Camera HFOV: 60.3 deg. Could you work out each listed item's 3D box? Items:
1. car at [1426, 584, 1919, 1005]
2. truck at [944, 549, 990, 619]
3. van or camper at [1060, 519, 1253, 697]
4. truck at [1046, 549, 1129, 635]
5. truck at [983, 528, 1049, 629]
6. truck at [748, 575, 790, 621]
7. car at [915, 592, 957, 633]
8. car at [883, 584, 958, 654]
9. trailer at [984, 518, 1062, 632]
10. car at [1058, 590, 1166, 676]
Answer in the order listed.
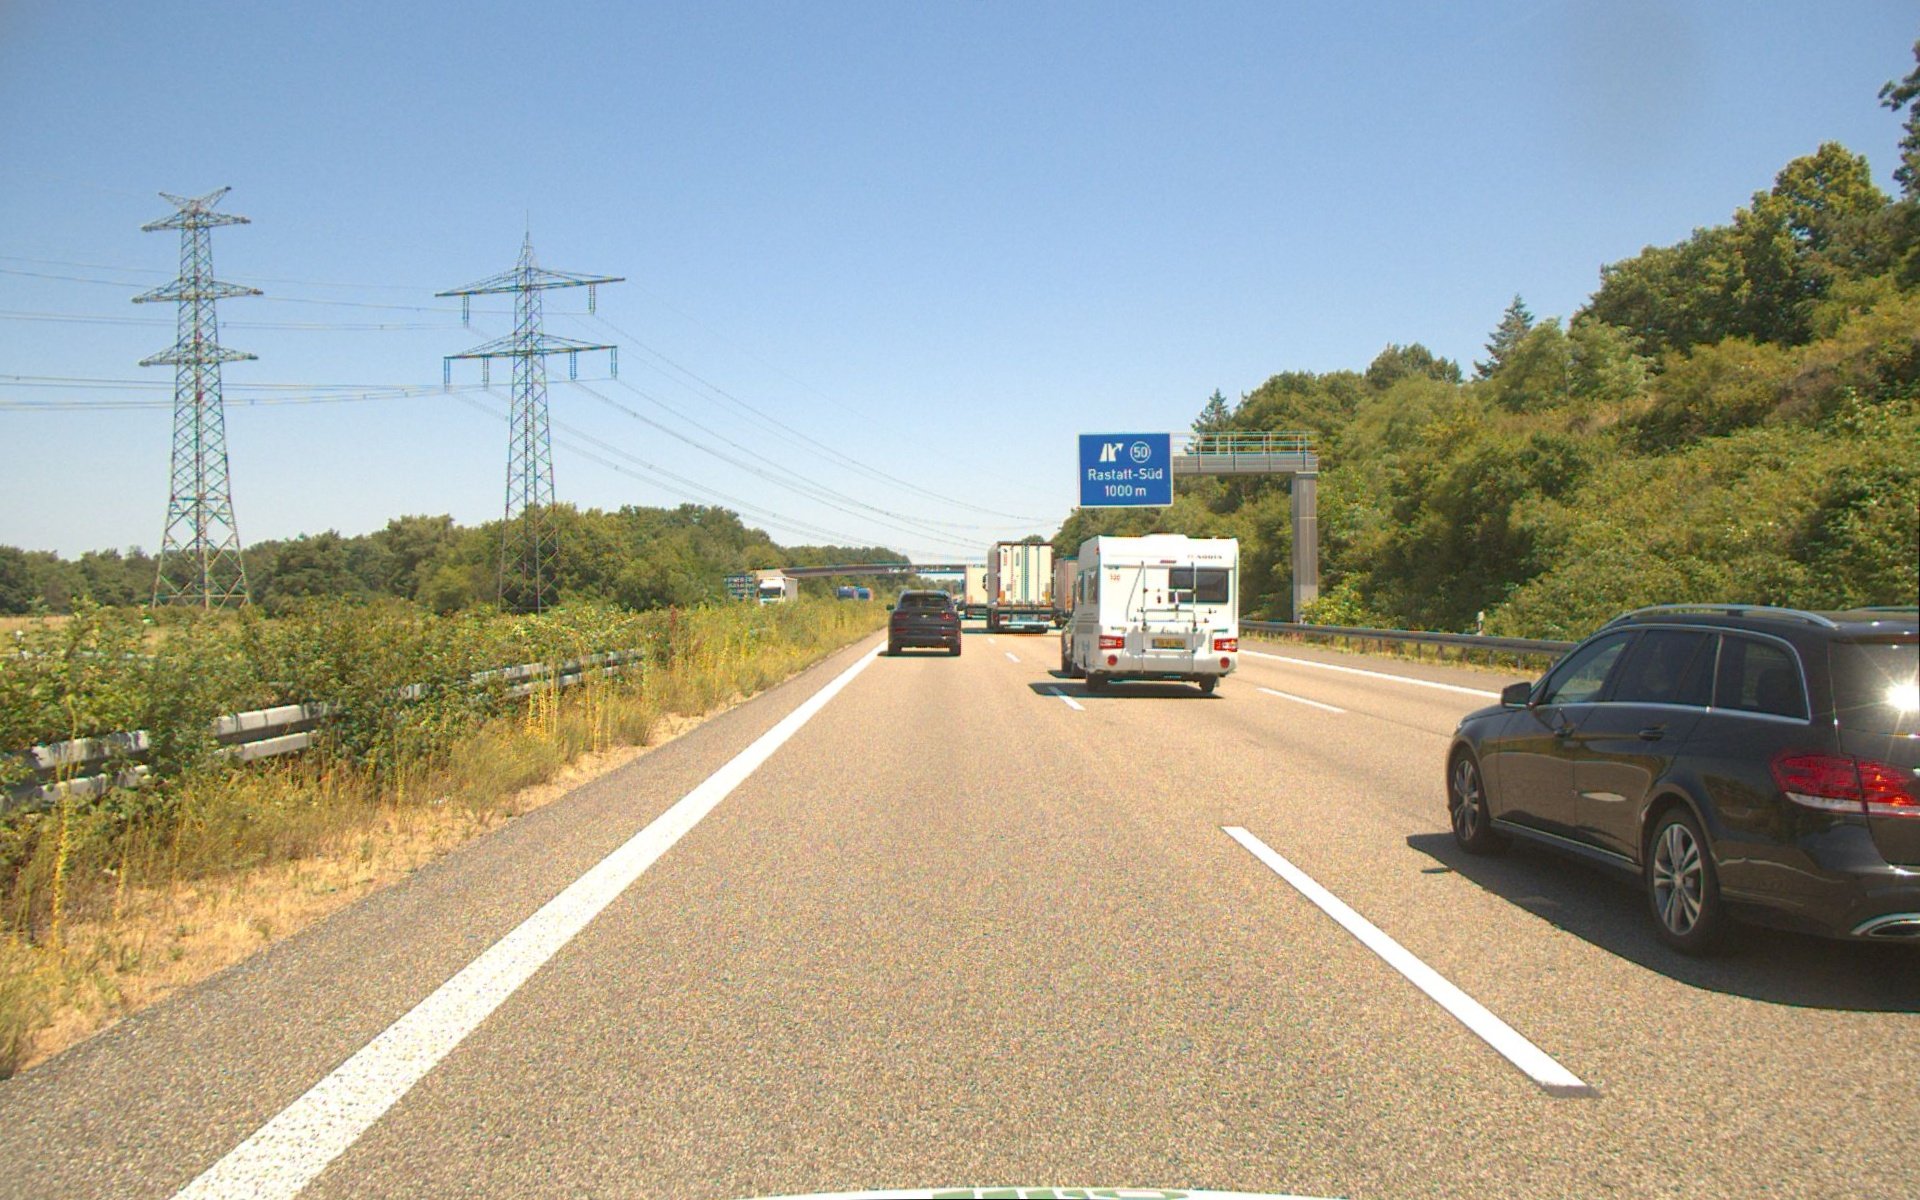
[{"bbox_3d":[3.991,0.699,8.408,1.804,1.532,4.737,1,0,-1],"label":"car"},{"bbox_3d":[0.521,-1.238,130.980,3.440,5.257,10.257,1,0,-1],"label":"truck"},{"bbox_3d":[3.216,0.105,28.559,2.390,2.721,6.347,0,0,-2],"label":"van or camper"},{"bbox_3d":[6.831,-0.394,90.642,3.498,4.319,11.650,1,0,-1],"label":"truck"},{"bbox_3d":[2.818,-1.047,85.327,3.024,4.970,6.596,1,0,-1],"label":"truck"},{"bbox_3d":[-19.528,-0.220,169.374,3.299,4.485,6.556,-2,0,1],"label":"truck"},{"bbox_3d":[-1.148,0.574,78.419,1.922,1.846,4.447,0,0,-2],"label":"car"},{"bbox_3d":[-1.079,0.476,44.952,1.953,1.803,3.999,0,0,-2],"label":"car"},{"bbox_3d":[2.876,-1.079,79.094,3.024,4.970,12.256,1,0,-1],"label":"trailer"},{"bbox_3d":[3.063,0.627,34.100,1.840,1.640,4.702,0,0,1],"label":"car"}]
